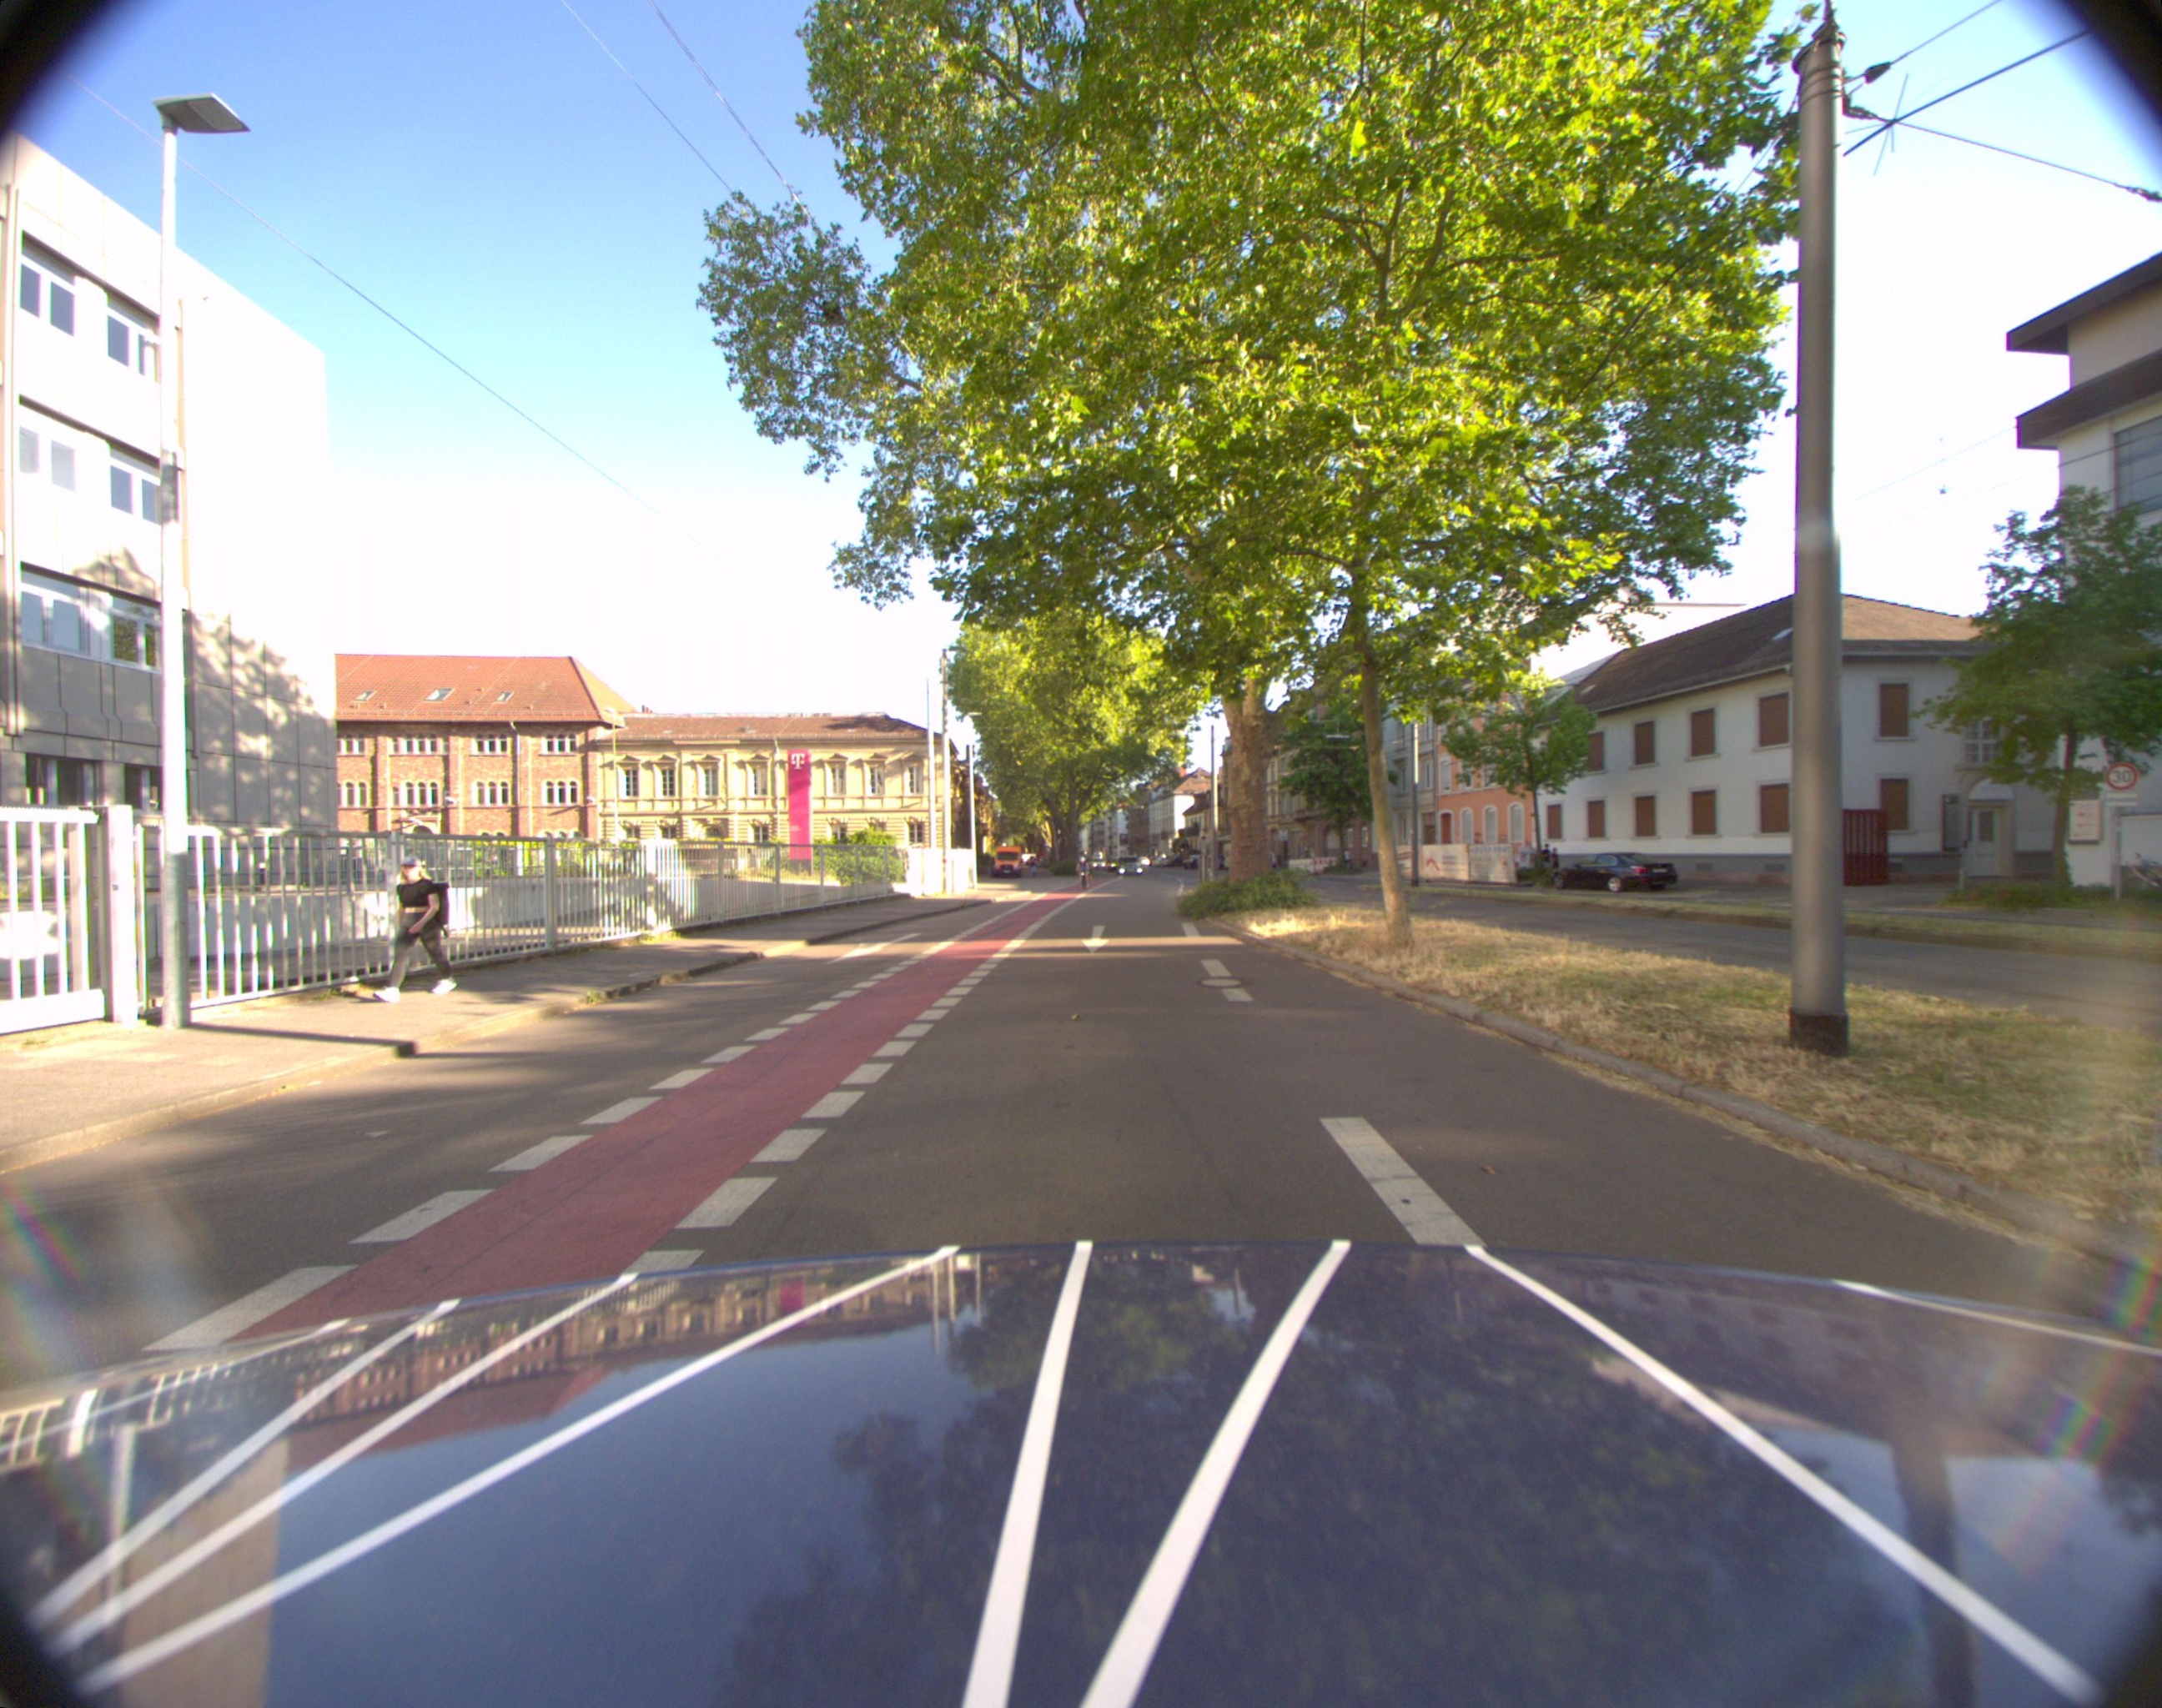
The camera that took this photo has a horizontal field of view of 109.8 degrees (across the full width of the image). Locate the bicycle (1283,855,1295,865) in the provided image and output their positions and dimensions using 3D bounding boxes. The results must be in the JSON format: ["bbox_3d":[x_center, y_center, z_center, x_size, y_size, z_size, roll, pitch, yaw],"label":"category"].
[{"bbox_3d":[20.237,0.564,74.045,0.580,0.919,1.791,-1,0,-2],"label":"bicycle"}]

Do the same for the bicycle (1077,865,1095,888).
[{"bbox_3d":[0.249,1.117,38.333,0.715,1.131,2.119,-1,0,-4],"label":"bicycle"}]

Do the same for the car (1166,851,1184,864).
[{"bbox_3d":[13.006,0.472,105.301,1.729,1.736,3.624,-4,0,-4],"label":"car"}]

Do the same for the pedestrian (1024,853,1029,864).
[{"bbox_3d":[-8.581,0.689,119.233,0.671,1.610,1.101,1,1,-8],"label":"pedestrian"}]

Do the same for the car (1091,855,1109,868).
[{"bbox_3d":[2.253,0.852,89.774,1.726,1.523,3.592,-1,0,-6],"label":"car"}]

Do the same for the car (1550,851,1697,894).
[{"bbox_3d":[20.565,0.641,29.117,1.999,1.505,4.722,-1,0,-5],"label":"car"}]

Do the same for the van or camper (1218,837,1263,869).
[{"bbox_3d":[15.898,-0.107,76.143,2.426,2.930,7.248,-4,0,-3],"label":"van or camper"}]

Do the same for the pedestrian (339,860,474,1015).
[{"bbox_3d":[-7.728,0.913,8.754,0.697,1.674,0.930,-1,1,-1],"label":"pedestrian"}]

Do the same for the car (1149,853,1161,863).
[{"bbox_3d":[11.681,0.616,120.473,1.422,1.502,3.325,-3,0,-2],"label":"car"}]

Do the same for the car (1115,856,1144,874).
[{"bbox_3d":[4.036,0.886,63.328,1.740,1.365,3.917,-3,0,-5],"label":"car"}]

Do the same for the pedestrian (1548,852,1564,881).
[{"bbox_3d":[22.896,0.592,36.636,0.458,1.409,0.472,-1,1,-10],"label":"pedestrian"}]

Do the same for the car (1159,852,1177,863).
[{"bbox_3d":[12.483,0.456,109.670,1.668,1.446,4.402,-4,0,-5],"label":"car"}]

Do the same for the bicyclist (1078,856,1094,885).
[{"bbox_3d":[0.244,0.814,38.284,0.715,1.435,0.953,-1,1,-4],"label":"bicyclist"}]

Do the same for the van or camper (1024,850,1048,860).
[{"bbox_3d":[-11.808,0.239,199.707,6.101,2.417,2.427,-1,0,-4],"label":"van or camper"}]

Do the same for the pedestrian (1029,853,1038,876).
[{"bbox_3d":[-3.657,0.786,58.604,0.652,1.726,1.007,-1,1,-4],"label":"pedestrian"}]

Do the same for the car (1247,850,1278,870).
[{"bbox_3d":[16.649,0.508,69.797,1.635,1.696,3.369,-4,1,-7],"label":"car"}]

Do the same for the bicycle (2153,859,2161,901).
[{"bbox_3d":[26.094,0.628,17.864,0.304,0.996,1.018,-1,0,-6],"label":"bicycle"}]

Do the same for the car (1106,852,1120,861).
[{"bbox_3d":[5.636,0.423,134.234,2.000,1.679,4.307,-1,0,-6],"label":"car"}]

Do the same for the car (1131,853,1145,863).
[{"bbox_3d":[10.150,0.674,135.792,1.799,1.587,4.081,-3,0,-5],"label":"car"}]

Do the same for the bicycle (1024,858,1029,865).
[{"bbox_3d":[-8.589,1.165,119.232,0.677,1.026,1.899,1,0,-6],"label":"bicycle"}]

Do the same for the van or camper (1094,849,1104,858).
[{"bbox_3d":[4.548,-0.059,197.440,1.945,2.267,4.596,-3,0,-5],"label":"van or camper"}]

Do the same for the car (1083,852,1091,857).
[{"bbox_3d":[1.830,0.149,232.978,1.809,1.534,3.916,-3,0,-7],"label":"car"}]

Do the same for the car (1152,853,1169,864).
[{"bbox_3d":[11.996,0.671,115.074,1.587,1.482,4.468,-3,0,-5],"label":"car"}]

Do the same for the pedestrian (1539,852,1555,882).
[{"bbox_3d":[22.170,0.609,36.126,0.458,1.409,0.472,-1,1,-10],"label":"pedestrian"}]

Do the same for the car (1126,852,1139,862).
[{"bbox_3d":[9.561,0.568,141.074,1.799,1.630,4.252,-3,0,-5],"label":"car"}]

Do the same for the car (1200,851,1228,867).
[{"bbox_3d":[14.995,0.560,85.890,1.816,1.695,4.441,-4,0,-6],"label":"car"}]

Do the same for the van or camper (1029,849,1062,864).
[{"bbox_3d":[-6.555,0.395,139.791,5.931,2.484,2.219,-1,3,-7],"label":"van or camper"}]

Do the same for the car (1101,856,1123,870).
[{"bbox_3d":[3.270,0.896,80.413,1.740,1.365,3.917,-3,0,-5],"label":"car"}]

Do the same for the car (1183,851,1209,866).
[{"bbox_3d":[14.072,0.556,93.201,1.999,1.693,4.748,-4,0,-6],"label":"car"}]

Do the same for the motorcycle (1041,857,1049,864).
[{"bbox_3d":[-5.730,1.011,119.484,1.274,1.048,0.394,-1,1,-41],"label":"motorcycle"}]

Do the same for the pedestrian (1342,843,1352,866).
[{"bbox_3d":[21.365,0.041,61.081,0.599,1.807,0.481,-1,1,-4],"label":"pedestrian"}]

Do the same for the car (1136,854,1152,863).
[{"bbox_3d":[10.825,0.712,130.690,1.869,1.423,4.081,-3,0,-5],"label":"car"}]

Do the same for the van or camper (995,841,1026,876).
[{"bbox_3d":[-5.423,0.298,58.915,2.041,2.544,5.771,-1,0,-3],"label":"van or camper"}]

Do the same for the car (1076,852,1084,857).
[{"bbox_3d":[-0.322,0.217,248.779,1.809,1.534,3.916,-3,0,-7],"label":"car"}]
